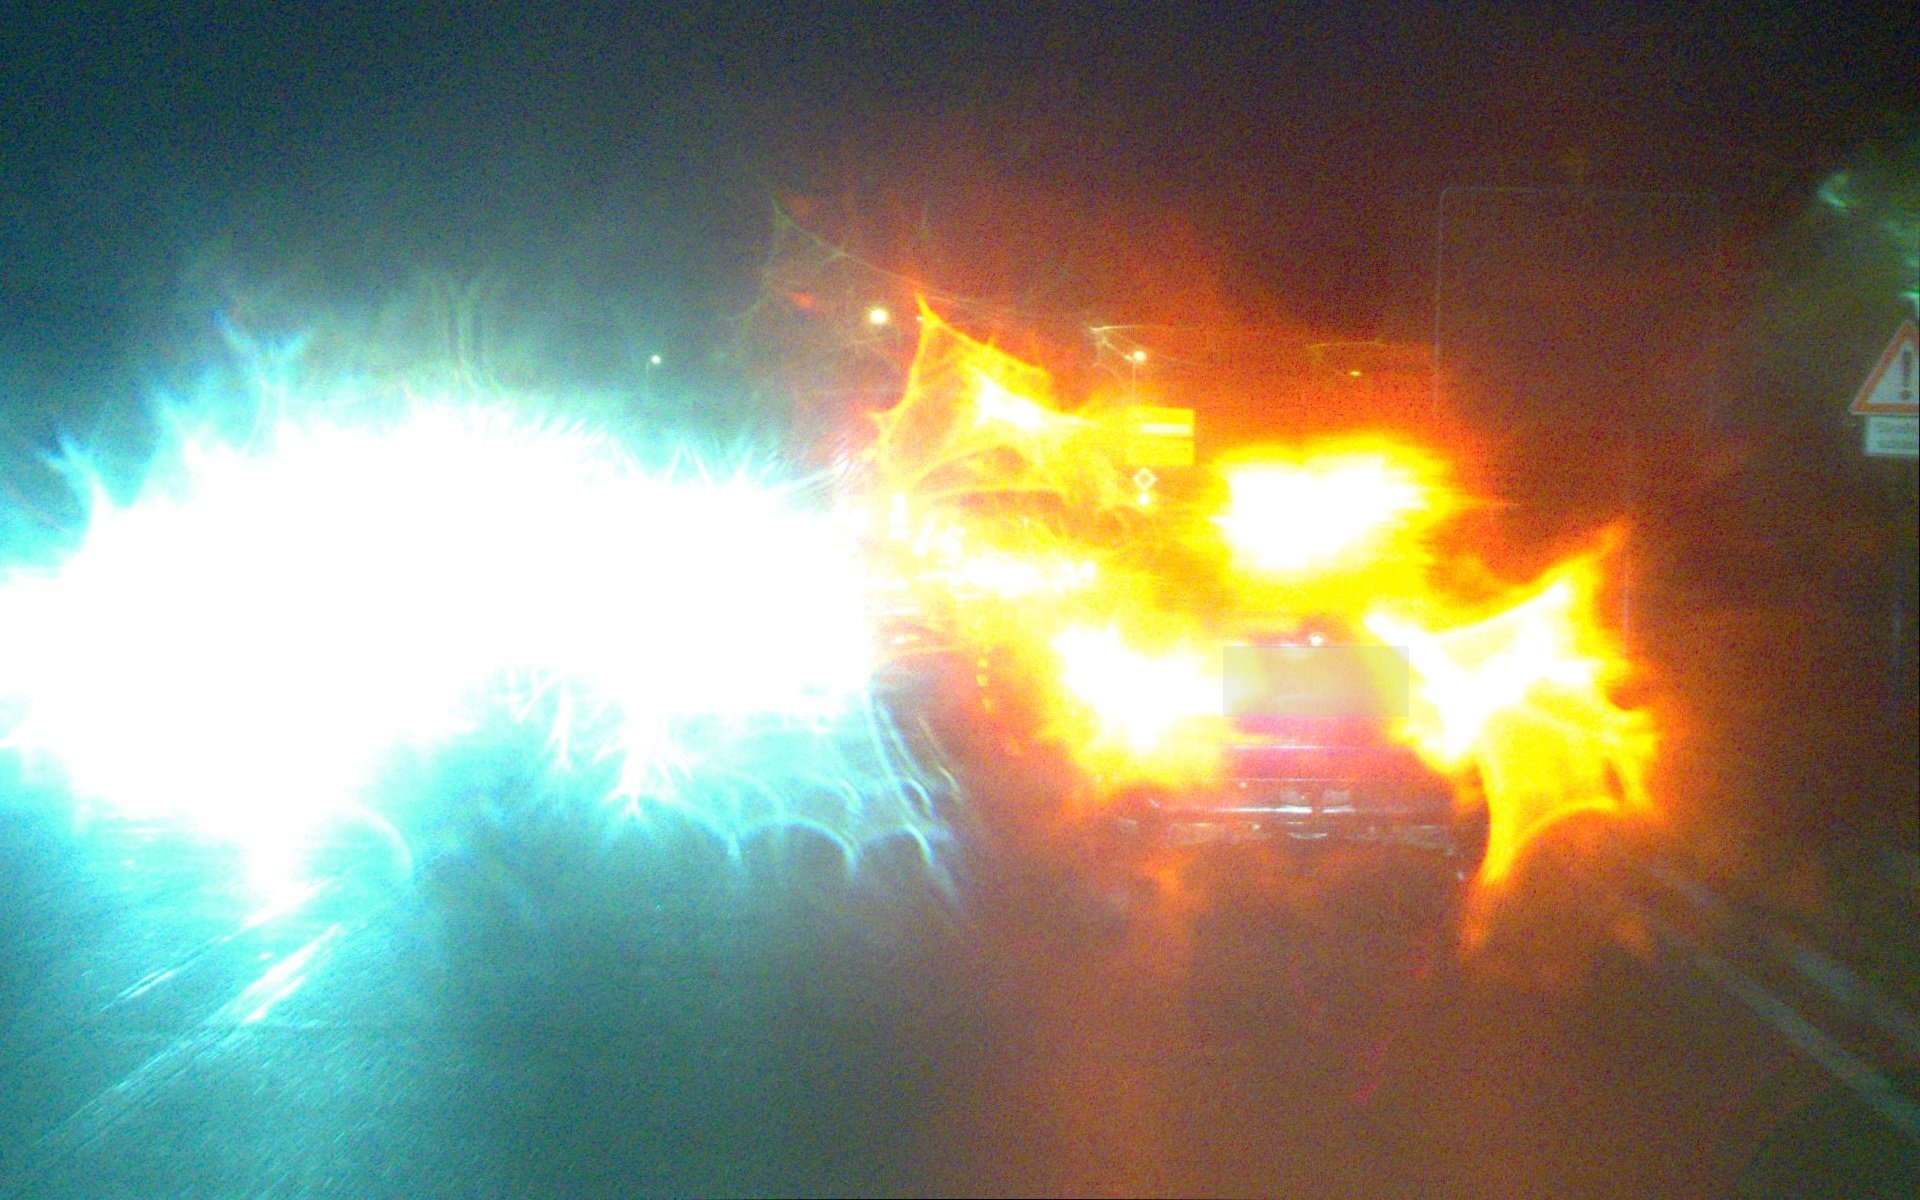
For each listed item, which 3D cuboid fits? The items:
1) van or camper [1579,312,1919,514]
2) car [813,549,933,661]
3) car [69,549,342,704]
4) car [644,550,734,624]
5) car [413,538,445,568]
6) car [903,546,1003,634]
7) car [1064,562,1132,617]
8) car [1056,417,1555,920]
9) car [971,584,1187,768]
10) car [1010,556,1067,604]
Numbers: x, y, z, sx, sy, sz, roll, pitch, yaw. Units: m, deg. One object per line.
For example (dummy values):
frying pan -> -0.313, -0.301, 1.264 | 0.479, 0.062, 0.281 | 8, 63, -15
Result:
van or camper -> 12.318, -2.831, 53.841 | 2.579, 2.898, 6.361 | 0, 1, -17
car -> -1.301, 0.063, 52.820 | 1.694, 1.624, 3.853 | 1, 0, 0
car -> -7.608, 0.218, 35.060 | 1.918, 1.439, 4.546 | 1, 1, -2
car -> -5.594, -0.287, 71.379 | 1.694, 1.429, 4.294 | 1, 1, -3
car -> -34.420, -3.057, 223.004 | 1.993, 1.905, 4.744 | 0, 1, -8
car -> -0.106, -0.227, 67.006 | 1.709, 1.632, 3.730 | -1, 1, 3
car -> 3.735, -0.289, 92.428 | 1.663, 1.445, 4.049 | 0, 0, 5
car -> 1.461, 0.229, 15.696 | 1.942, 1.965, 4.218 | 1, 1, 3
car -> 1.123, 0.618, 30.539 | 1.768, 1.445, 4.218 | 1, 1, 4
car -> 2.448, -0.621, 106.230 | 1.663, 1.445, 4.049 | 1, 0, 2
